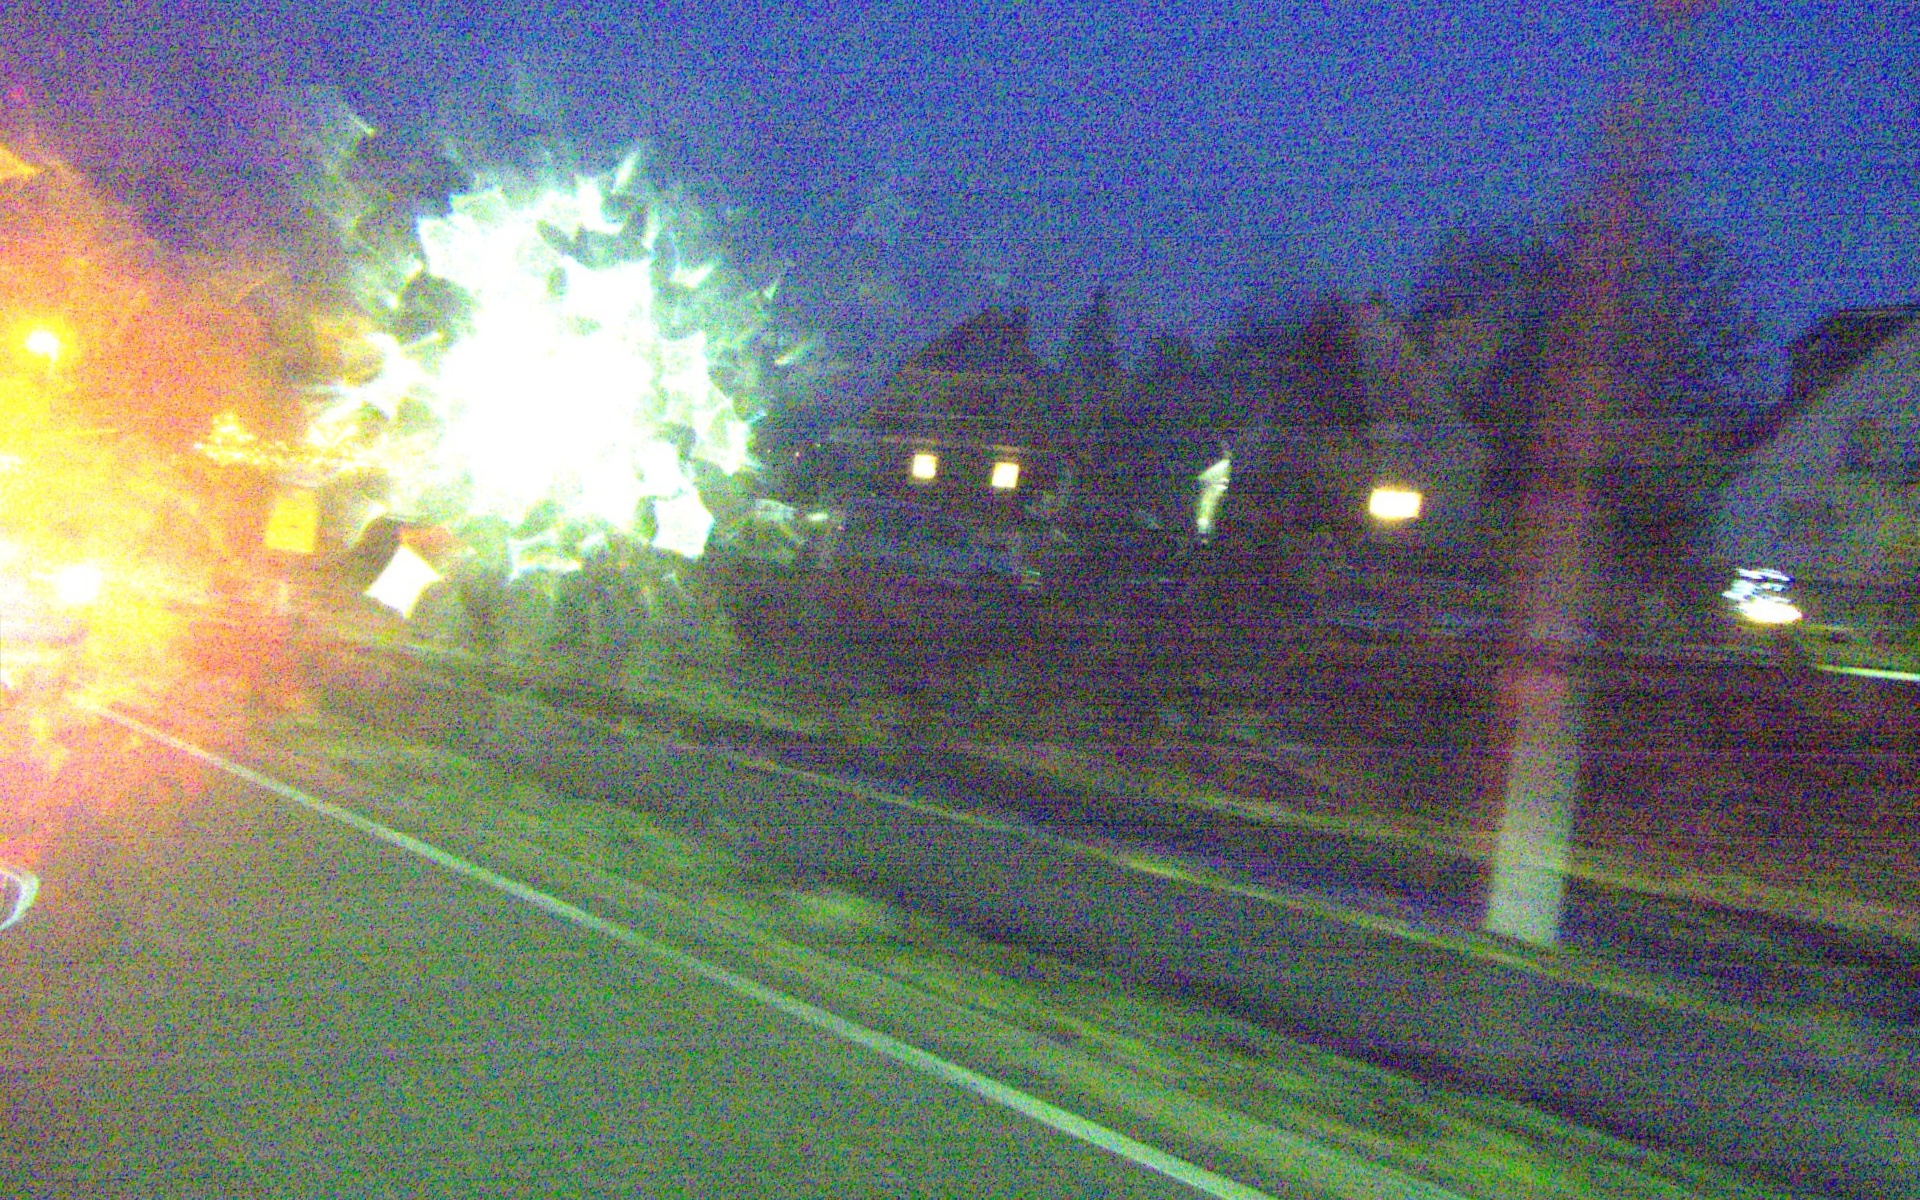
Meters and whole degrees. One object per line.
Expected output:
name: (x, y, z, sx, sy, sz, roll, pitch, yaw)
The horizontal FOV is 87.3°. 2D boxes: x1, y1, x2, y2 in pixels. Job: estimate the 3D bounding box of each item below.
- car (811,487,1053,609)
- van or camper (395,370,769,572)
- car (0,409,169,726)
car: (-0.496, -0.967, 18.869, 4.056, 1.637, 1.643, 8, -1, 17)
van or camper: (-7.322, -2.487, 19.705, 6.238, 2.943, 2.590, 7, -1, 15)
car: (-7.939, -0.434, 7.280, 4.147, 1.995, 1.946, 7, -1, 31)
